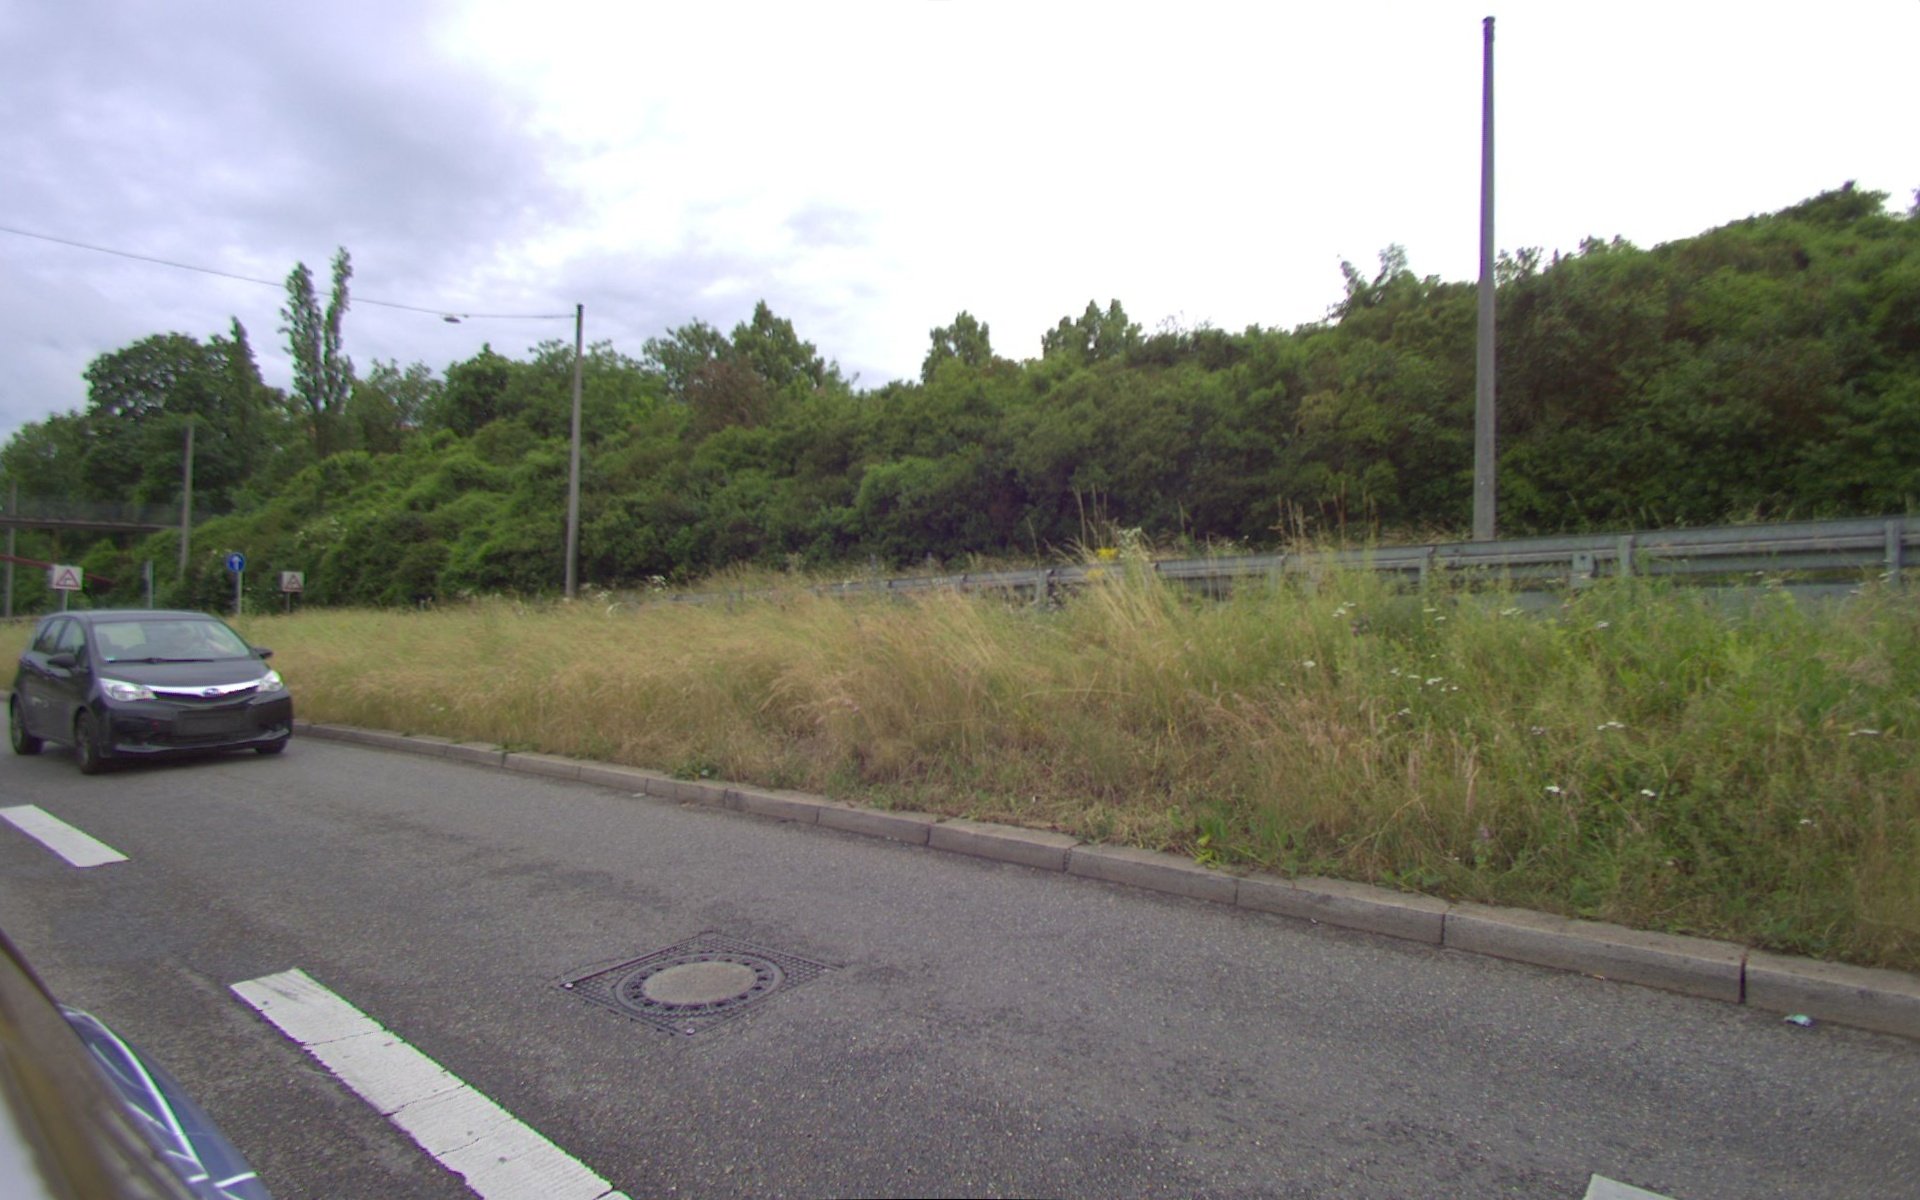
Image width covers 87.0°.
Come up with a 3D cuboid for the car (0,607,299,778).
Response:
[{"bbox_3d":[-8.797,0.881,10.841,3.770,1.516,1.627,-2,-1,36],"label":"car"}]
